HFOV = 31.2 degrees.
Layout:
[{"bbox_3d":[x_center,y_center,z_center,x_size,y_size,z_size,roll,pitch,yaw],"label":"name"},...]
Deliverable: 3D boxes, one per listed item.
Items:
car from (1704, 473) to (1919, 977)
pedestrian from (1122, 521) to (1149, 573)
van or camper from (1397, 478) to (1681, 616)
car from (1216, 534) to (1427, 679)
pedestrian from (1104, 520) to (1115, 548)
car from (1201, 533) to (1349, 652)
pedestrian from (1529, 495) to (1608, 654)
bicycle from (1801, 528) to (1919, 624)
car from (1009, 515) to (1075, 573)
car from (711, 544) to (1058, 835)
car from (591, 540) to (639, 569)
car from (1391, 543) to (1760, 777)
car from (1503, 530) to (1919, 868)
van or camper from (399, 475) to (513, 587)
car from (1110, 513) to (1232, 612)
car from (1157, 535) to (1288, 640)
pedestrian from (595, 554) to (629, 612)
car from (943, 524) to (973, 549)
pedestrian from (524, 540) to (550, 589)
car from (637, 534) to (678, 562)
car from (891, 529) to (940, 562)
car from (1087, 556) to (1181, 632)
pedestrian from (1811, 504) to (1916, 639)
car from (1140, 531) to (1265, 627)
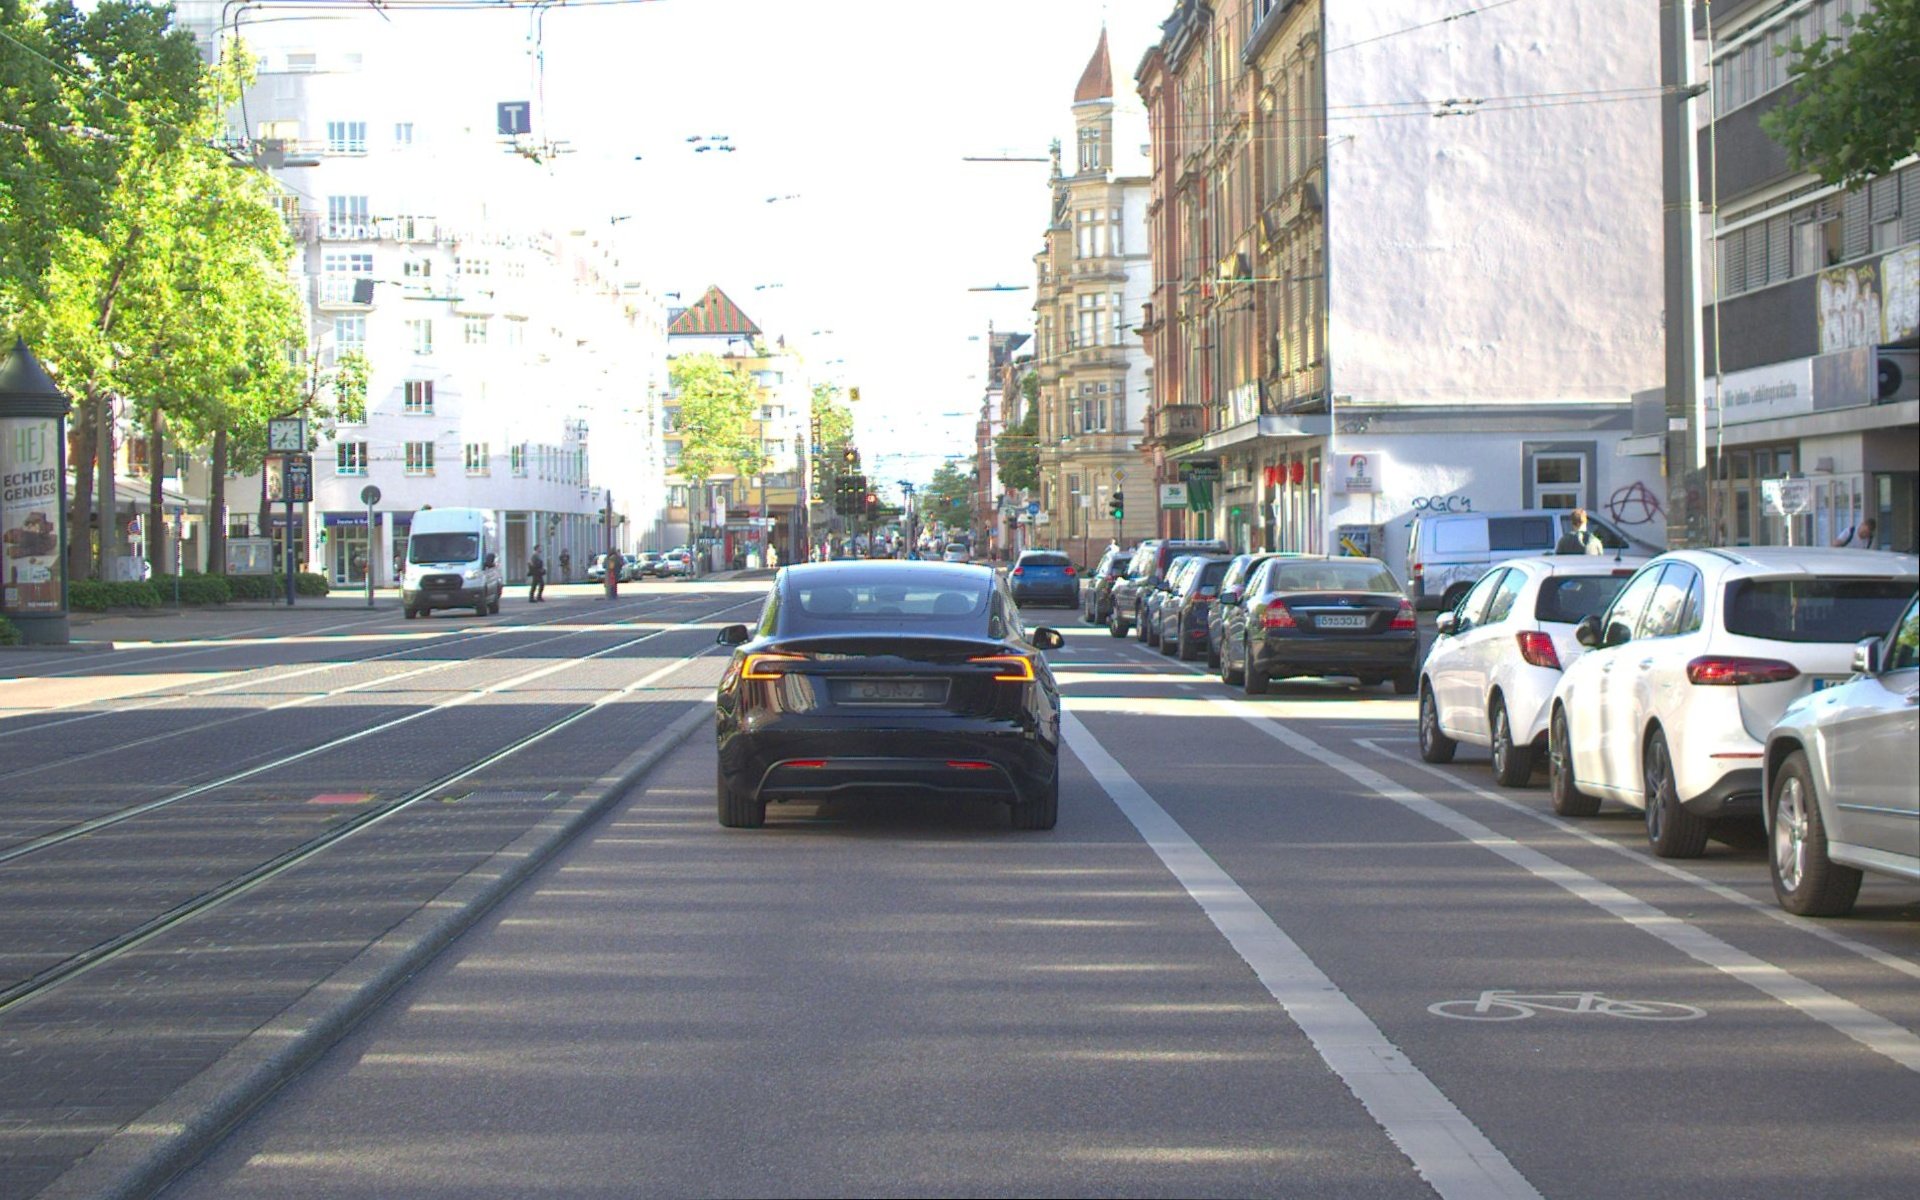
[{"bbox_3d":[4.422,0.450,12.994,1.925,1.828,4.713,0,1,-3],"label":"car"},{"bbox_3d":[5.560,-1.673,108.905,0.748,1.611,0.706,-1,1,-3],"label":"pedestrian"},{"bbox_3d":[10.125,-0.928,60.396,4.644,2.129,1.987,-3,1,4],"label":"van or camper"},{"bbox_3d":[3.841,0.034,37.174,1.710,1.452,4.551,1,1,-1],"label":"car"},{"bbox_3d":[6.454,-2.846,148.463,0.441,1.217,0.389,-1,1,-1],"label":"pedestrian"},{"bbox_3d":[3.962,-0.098,43.604,1.578,1.442,3.309,0,0,0],"label":"car"},{"bbox_3d":[7.060,-0.298,39.907,0.721,1.806,0.889,-1,1,-1],"label":"pedestrian"},{"bbox_3d":[11.922,-0.304,44.343,2.174,1.215,0.805,0,0,-33],"label":"bicycle"},{"bbox_3d":[2.072,-1.415,87.570,1.593,1.428,3.686,-1,1,0],"label":"car"},{"bbox_3d":[-0.434,0.420,19.091,1.719,1.400,3.710,1,1,-2],"label":"car"},{"bbox_3d":[-17.051,-2.243,169.963,1.993,1.363,4.000,-1,1,-1],"label":"car"},{"bbox_3d":[4.150,0.359,23.741,1.601,1.438,3.885,2,1,-3],"label":"car"},{"bbox_3d":[4.103,0.424,18.263,1.541,1.564,4.444,1,1,-2],"label":"car"},{"bbox_3d":[-12.572,-1.708,86.137,2.139,2.645,6.881,-1,1,-3],"label":"van or camper"},{"bbox_3d":[3.584,-0.626,58.996,1.829,1.622,4.095,0,0,0],"label":"car"},{"bbox_3d":[3.692,-0.178,48.849,1.461,1.427,3.814,0,0,-1],"label":"car"},{"bbox_3d":[-10.453,-0.517,103.232,0.845,1.689,0.796,1,1,7],"label":"pedestrian"},{"bbox_3d":[-0.122,-4.091,221.413,1.846,1.587,4.000,-1,1,0],"label":"car"},{"bbox_3d":[-13.049,-1.102,106.040,0.702,1.496,0.795,0,1,0],"label":"pedestrian"},{"bbox_3d":[-17.130,-2.934,194.701,1.993,1.490,4.000,-2,2,-1],"label":"car"},{"bbox_3d":[-2.096,-2.548,161.655,1.993,1.520,4.001,0,0,-5],"label":"car"},{"bbox_3d":[3.500,-0.134,69.677,1.715,1.467,3.719,-1,1,0],"label":"car"},{"bbox_3d":[11.859,-0.378,45.122,1.155,1.722,1.042,0,2,24],"label":"pedestrian"},{"bbox_3d":[3.773,-0.323,53.965,1.578,1.439,3.914,0,0,-1],"label":"car"}]
